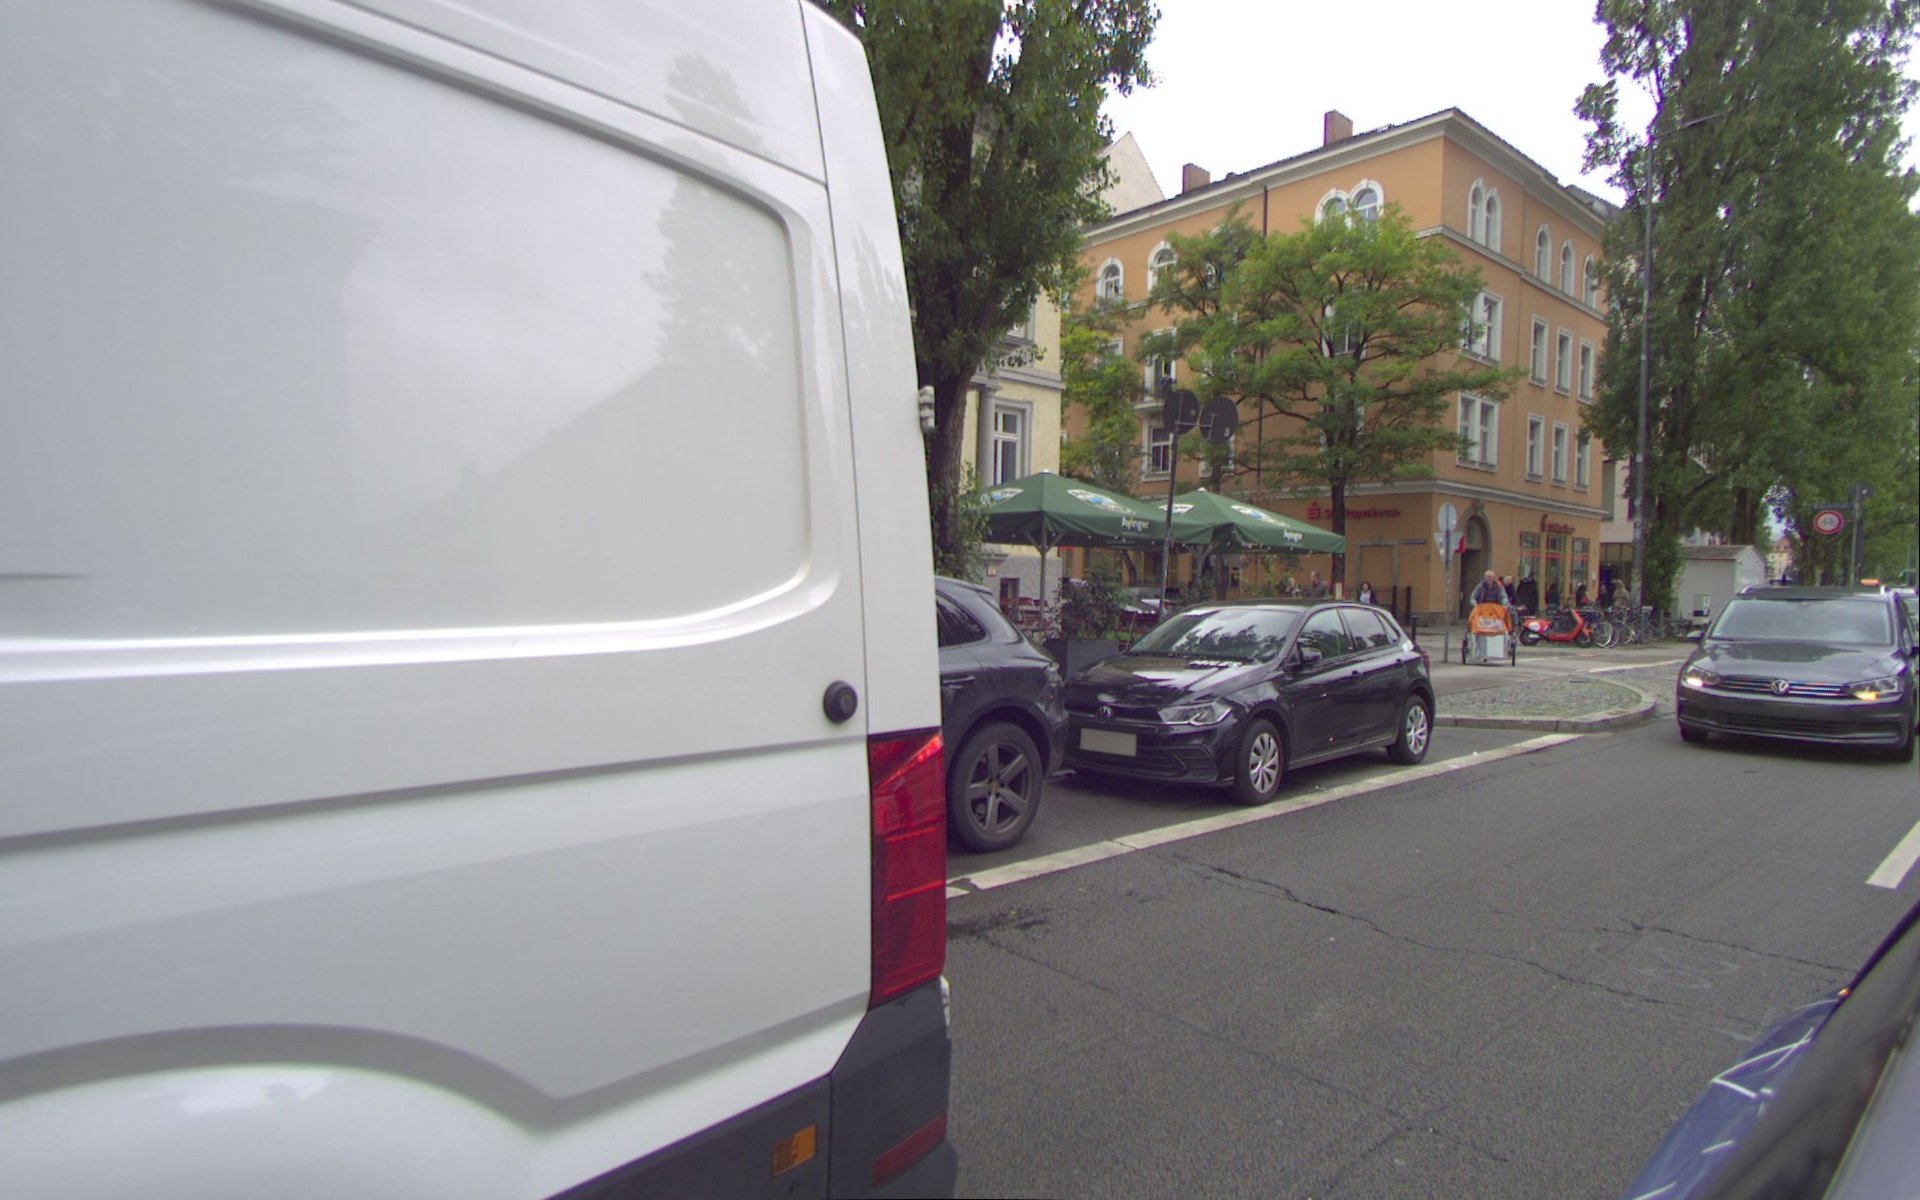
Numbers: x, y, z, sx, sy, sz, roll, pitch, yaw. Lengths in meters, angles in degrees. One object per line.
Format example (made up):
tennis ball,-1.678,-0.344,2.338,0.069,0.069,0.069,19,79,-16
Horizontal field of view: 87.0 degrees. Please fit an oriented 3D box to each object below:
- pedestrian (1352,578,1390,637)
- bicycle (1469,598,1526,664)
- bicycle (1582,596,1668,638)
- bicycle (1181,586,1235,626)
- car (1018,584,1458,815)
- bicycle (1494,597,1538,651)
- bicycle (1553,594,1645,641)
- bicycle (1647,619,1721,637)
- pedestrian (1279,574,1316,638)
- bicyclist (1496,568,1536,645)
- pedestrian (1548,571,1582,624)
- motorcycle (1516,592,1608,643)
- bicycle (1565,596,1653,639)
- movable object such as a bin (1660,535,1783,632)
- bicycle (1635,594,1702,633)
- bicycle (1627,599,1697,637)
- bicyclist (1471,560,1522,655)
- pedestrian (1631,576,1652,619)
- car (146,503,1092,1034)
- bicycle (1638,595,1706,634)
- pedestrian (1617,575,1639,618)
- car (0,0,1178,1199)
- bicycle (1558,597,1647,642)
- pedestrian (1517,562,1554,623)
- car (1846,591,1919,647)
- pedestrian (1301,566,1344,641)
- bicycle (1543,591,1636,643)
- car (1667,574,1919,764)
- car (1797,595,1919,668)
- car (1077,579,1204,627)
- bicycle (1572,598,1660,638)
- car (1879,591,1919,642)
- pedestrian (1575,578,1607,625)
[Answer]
pedestrian,11.252,0.187,27.731,0.651,1.590,0.746,0,0,-38
bicycle,10.191,0.545,19.226,0.879,1.134,2.082,2,1,27
bicycle,18.780,0.455,28.634,0.551,1.098,1.945,0,1,-39
bicycle,9.003,0.203,36.802,0.551,1.389,1.945,0,0,-39
car,2.444,0.619,8.358,3.884,1.434,1.696,0,1,-43
bicycle,12.602,0.521,22.983,0.730,1.134,2.083,2,1,26
bicycle,16.853,0.449,26.734,0.551,1.151,1.945,0,1,-39
bicycle,21.009,0.818,29.389,1.671,0.378,0.818,4,3,42
pedestrian,8.612,0.146,25.807,0.564,1.590,0.699,0,0,-38
bicyclist,12.647,0.139,23.045,0.734,1.708,0.742,1,1,26
pedestrian,19.735,-0.090,33.011,0.758,1.682,0.744,0,0,-43
motorcycle,15.426,0.439,25.976,1.939,1.236,0.510,2,1,25
bicycle,17.774,0.463,27.765,0.551,1.089,1.945,0,1,-39
movable object such as a bin,26.954,-0.591,35.803,4.463,3.175,2.445,0,3,-41
bicycle,21.397,0.400,30.574,1.593,1.098,0.319,2,1,28
bicycle,20.219,0.517,29.170,1.597,1.022,0.337,2,1,43
bicyclist,10.364,0.125,19.568,0.824,1.779,0.660,1,1,29
pedestrian,27.543,-0.100,40.906,0.617,1.715,0.566,0,0,41
car,-1.415,0.505,5.313,4.371,1.658,1.805,0,1,-42
bicycle,21.256,0.415,30.238,1.588,1.098,0.339,2,1,28
pedestrian,26.682,-0.142,40.419,0.633,1.715,0.565,0,0,44
car,-2.825,0.141,0.283,6.611,2.524,2.067,0,1,-41
bicycle,17.268,0.497,27.233,0.551,1.102,1.945,0,1,-39
pedestrian,19.010,-0.250,33.418,0.787,1.973,0.839,0,0,-39
car,28.107,0.521,30.340,4.421,1.572,1.787,0,1,-42
pedestrian,8.870,0.072,24.767,0.718,1.788,0.699,0,0,-38
bicycle,16.357,0.429,26.342,0.551,1.255,1.945,0,1,-39
car,9.136,0.571,10.648,4.120,1.611,1.880,0,1,-42
car,20.086,0.631,21.392,3.919,1.451,1.621,0,0,-13
car,6.081,0.075,34.440,1.873,1.539,3.993,-1,1,-41
bicycle,18.225,0.487,28.151,0.551,1.022,1.945,0,1,-39
car,32.365,0.524,33.977,4.421,1.634,1.787,0,1,-42
pedestrian,21.603,0.045,34.653,0.603,1.590,0.746,0,0,-38
